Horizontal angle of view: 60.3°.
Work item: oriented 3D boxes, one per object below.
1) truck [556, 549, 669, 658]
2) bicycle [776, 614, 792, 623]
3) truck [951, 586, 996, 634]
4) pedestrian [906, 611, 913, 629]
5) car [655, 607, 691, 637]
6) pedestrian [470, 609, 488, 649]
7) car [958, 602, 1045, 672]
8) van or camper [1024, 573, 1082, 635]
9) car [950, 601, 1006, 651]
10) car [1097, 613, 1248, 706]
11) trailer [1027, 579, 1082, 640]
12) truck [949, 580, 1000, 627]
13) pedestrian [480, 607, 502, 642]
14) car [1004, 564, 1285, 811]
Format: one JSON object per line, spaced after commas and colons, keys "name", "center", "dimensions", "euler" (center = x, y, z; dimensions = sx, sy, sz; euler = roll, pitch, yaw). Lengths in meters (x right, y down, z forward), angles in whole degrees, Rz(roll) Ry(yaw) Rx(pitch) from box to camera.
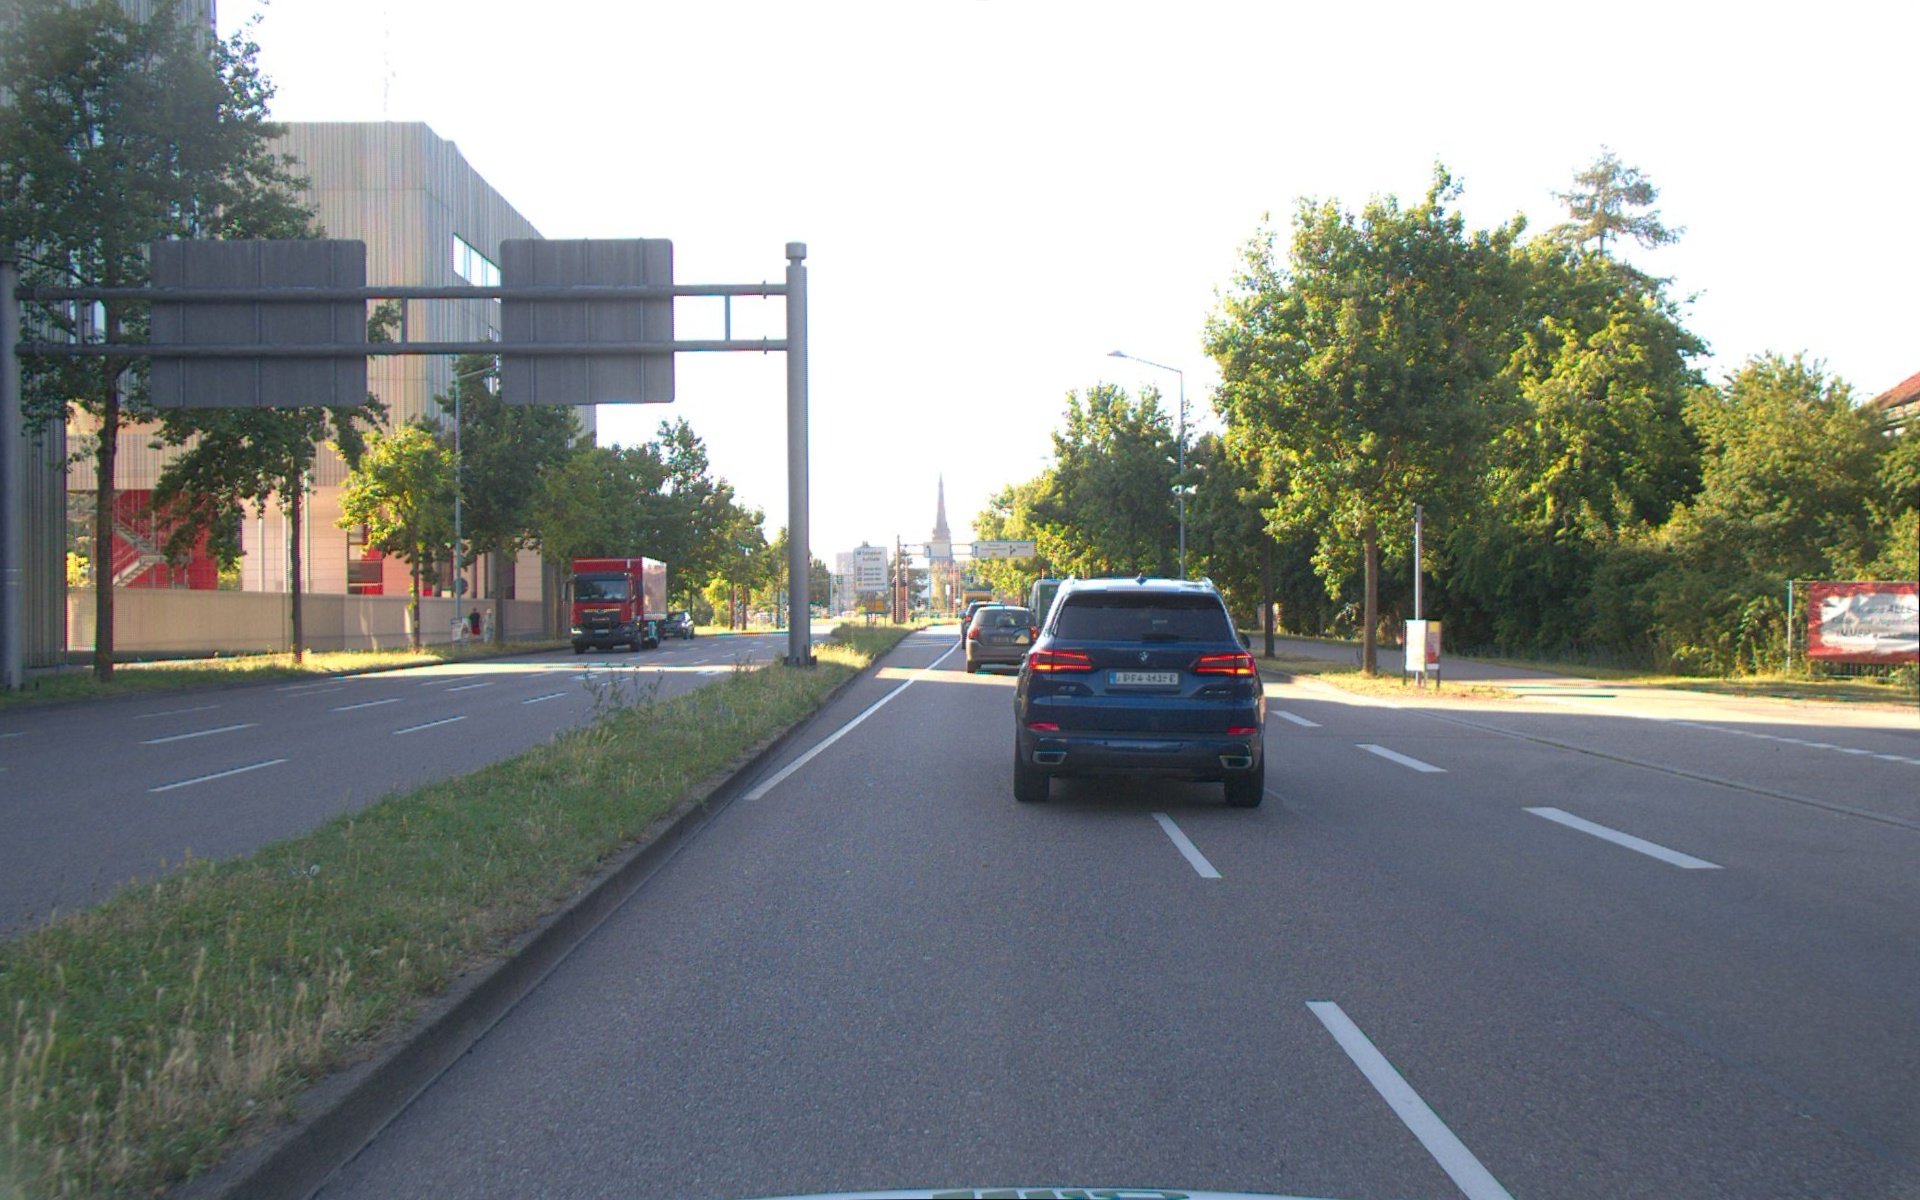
{"name": "truck", "center": [-13.356, 0.130, 64.409], "dimensions": [2.939, 3.878, 10.080], "euler": [0, 0, -4]}
{"name": "bicycle", "center": [-21.110, 2.231, 198.072], "dimensions": [1.868, 1.037, 0.505], "euler": [0, -1, 15]}
{"name": "truck", "center": [0.829, 0.558, 95.568], "dimensions": [2.173, 2.697, 4.776], "euler": [-1, 0, 5]}
{"name": "pedestrian", "center": [-5.914, 2.368, 195.228], "dimensions": [0.774, 2.049, 0.700], "euler": [0, 0, -7]}
{"name": "car", "center": [-15.276, 1.143, 88.019], "dimensions": [1.565, 1.539, 3.863], "euler": [0, 0, -5]}
{"name": "pedestrian", "center": [-22.798, 1.373, 78.378], "dimensions": [0.619, 1.873, 0.716], "euler": [-1, 0, 0]}
{"name": "car", "center": [0.902, 0.813, 37.888], "dimensions": [1.712, 1.499, 3.818], "euler": [-1, 0, -2]}
{"name": "van or camper", "center": [4.177, 0.172, 75.138], "dimensions": [2.238, 2.675, 6.582], "euler": [1, 0, 0]}
{"name": "car", "center": [0.672, 0.925, 58.555], "dimensions": [1.866, 1.689, 4.001], "euler": [-1, -1, 2]}
{"name": "car", "center": [3.371, 0.912, 27.068], "dimensions": [1.816, 1.361, 4.624], "euler": [1, 0, -1]}
{"name": "trailer", "center": [3.895, 0.406, 68.902], "dimensions": [2.047, 2.442, 3.500], "euler": [1, 0, -1]}
{"name": "truck", "center": [0.786, 0.205, 96.212], "dimensions": [2.529, 2.603, 6.247], "euler": [-1, 0, -3]}
{"name": "pedestrian", "center": [-22.027, 1.165, 77.680], "dimensions": [0.760, 1.629, 0.909], "euler": [-1, 0, 0]}
{"name": "car", "center": [1.391, 0.664, 14.244], "dimensions": [1.915, 1.757, 4.699], "euler": [0, -1, 0]}
